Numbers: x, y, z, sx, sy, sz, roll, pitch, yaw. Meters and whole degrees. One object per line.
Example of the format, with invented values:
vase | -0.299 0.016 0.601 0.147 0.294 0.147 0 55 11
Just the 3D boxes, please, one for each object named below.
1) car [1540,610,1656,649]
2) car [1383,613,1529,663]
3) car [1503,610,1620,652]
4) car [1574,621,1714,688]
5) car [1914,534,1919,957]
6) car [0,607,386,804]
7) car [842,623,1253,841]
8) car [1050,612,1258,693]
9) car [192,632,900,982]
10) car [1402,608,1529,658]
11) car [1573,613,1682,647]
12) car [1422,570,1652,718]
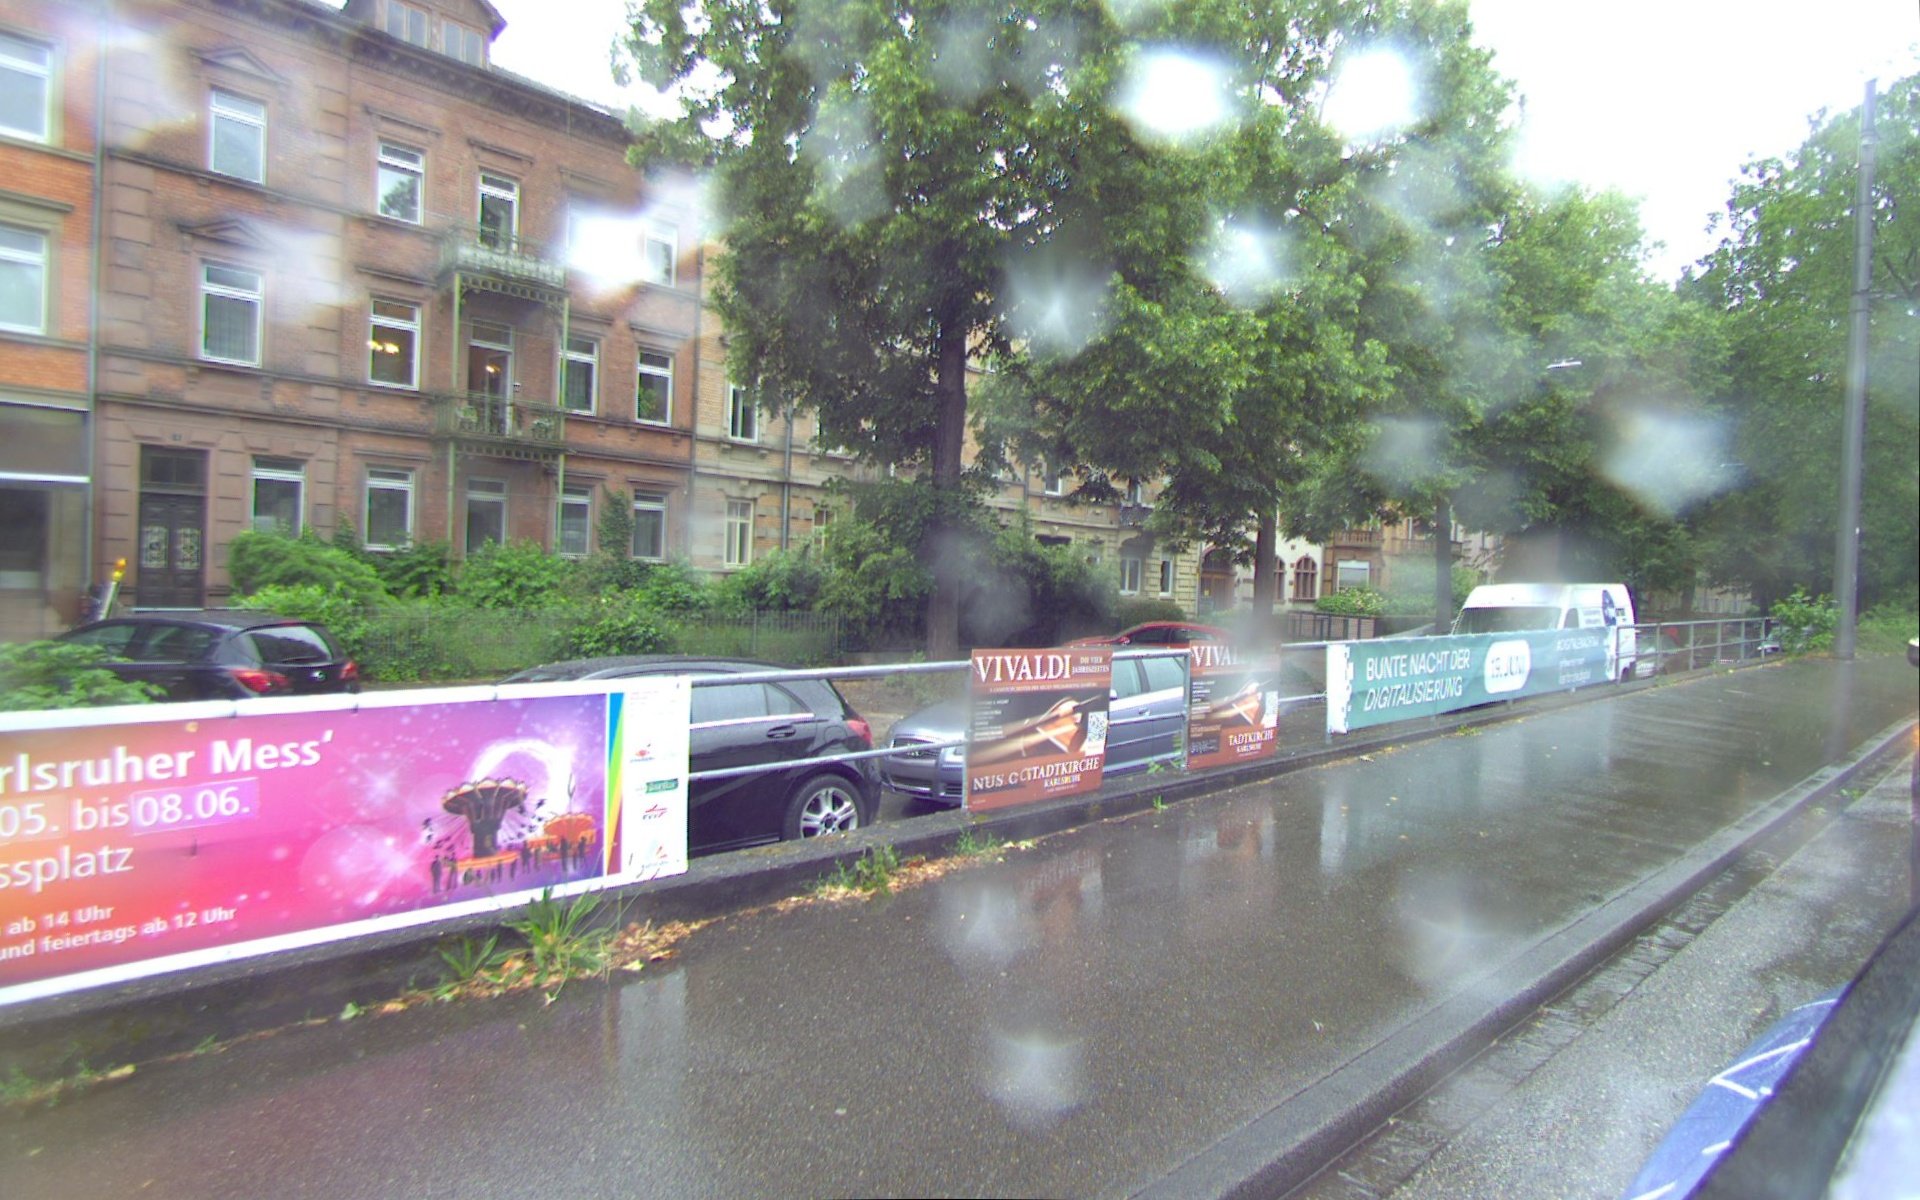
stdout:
car | 28.504 1.306 45.345 3.942 1.585 1.991 0 1 15
car | 16.503 1.234 33.893 4.214 1.397 1.679 2 2 22
car | 25.583 1.286 43.175 3.947 1.629 1.815 1 1 19
car | 16.523 1.242 24.375 4.312 1.370 1.968 0 0 -44
car | 5.764 0.585 4.521 3.612 1.687 1.755 0 1 -39
car | -8.508 0.982 11.086 3.959 1.735 1.983 1 1 26
car | 0.988 1.058 9.779 4.006 1.559 1.734 0 0 -43
car | 4.382 1.115 22.733 4.372 1.471 1.888 2 1 18
car | -2.451 1.001 6.524 3.903 1.417 1.706 0 1 -41
car | 17.904 1.143 36.037 3.958 1.523 1.645 2 2 25
car | 32.064 1.424 48.732 3.942 1.482 1.904 0 1 15
car | 11.356 0.712 19.669 6.055 2.451 2.211 0 0 -43
